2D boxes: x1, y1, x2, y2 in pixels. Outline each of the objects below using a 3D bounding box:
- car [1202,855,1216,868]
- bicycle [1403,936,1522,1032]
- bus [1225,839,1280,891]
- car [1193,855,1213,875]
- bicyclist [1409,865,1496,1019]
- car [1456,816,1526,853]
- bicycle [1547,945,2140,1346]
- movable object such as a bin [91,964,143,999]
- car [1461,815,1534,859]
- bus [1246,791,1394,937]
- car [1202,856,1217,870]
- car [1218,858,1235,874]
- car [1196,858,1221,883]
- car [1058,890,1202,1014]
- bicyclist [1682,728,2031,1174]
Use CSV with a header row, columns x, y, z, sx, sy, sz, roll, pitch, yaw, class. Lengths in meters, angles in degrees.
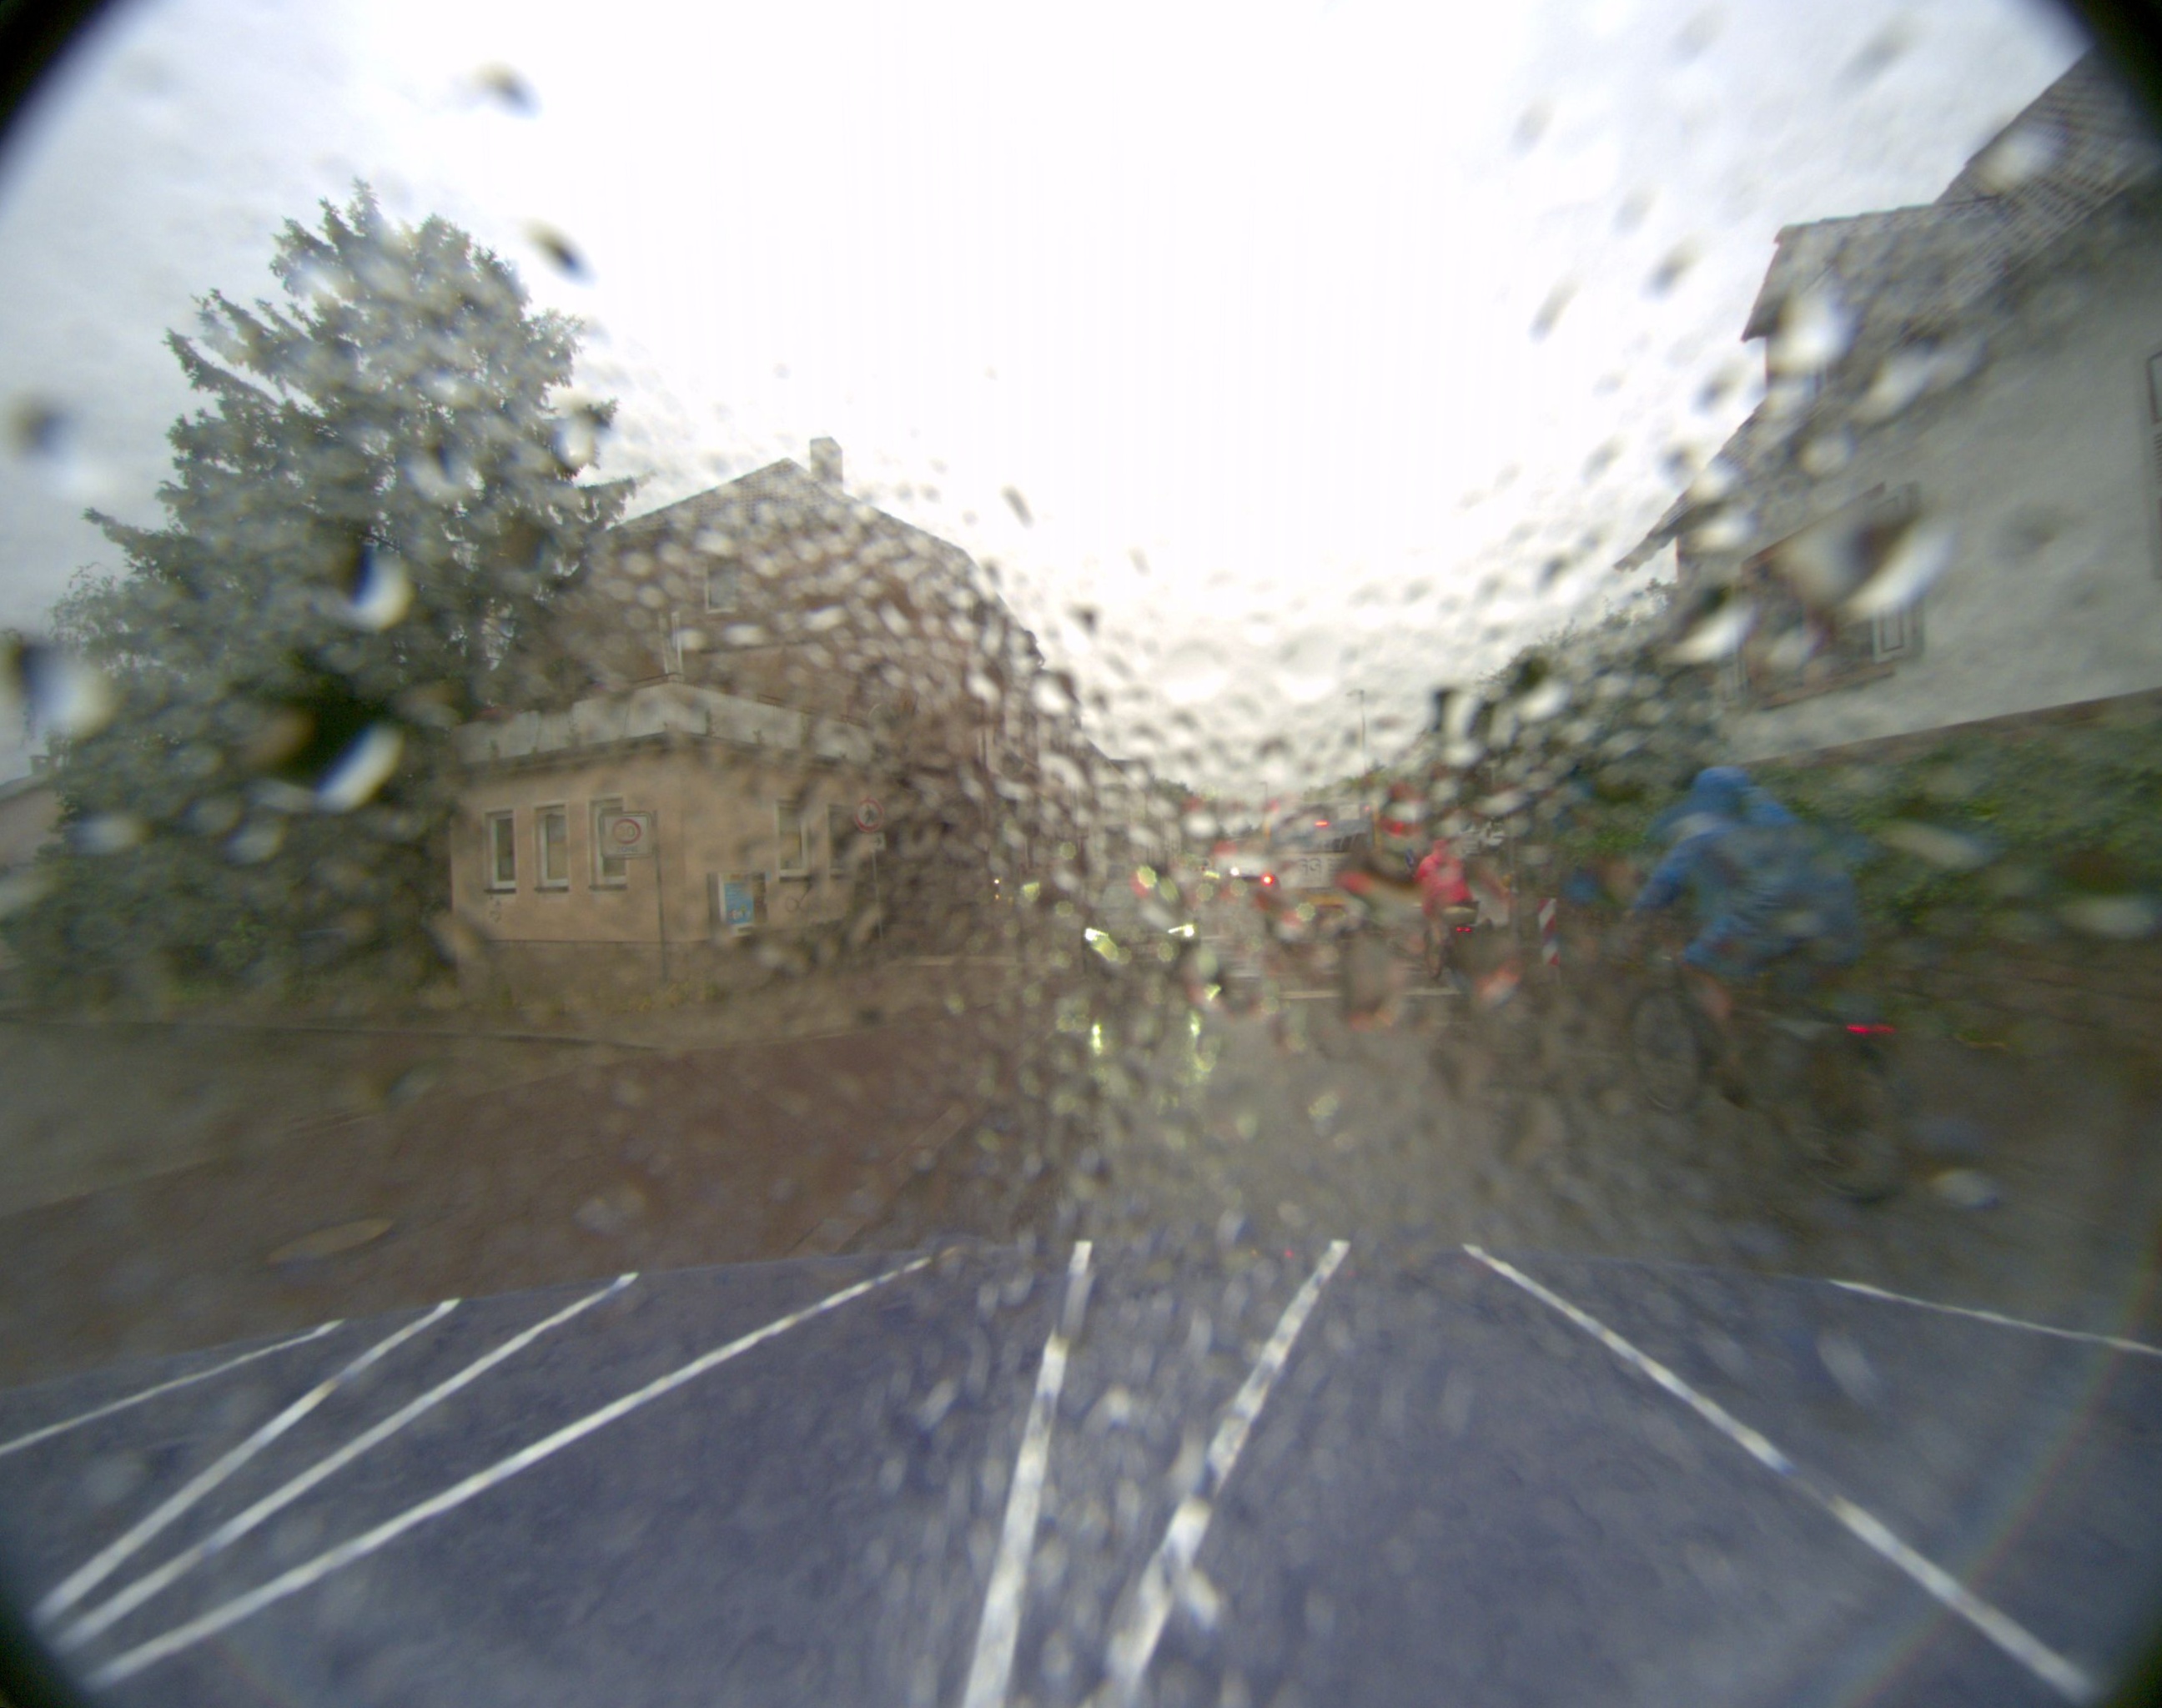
x,y,z,sx,sy,sz,roll,pitch,yaw,class
18.010,1.025,107.013,1.779,1.601,4.191,-3,0,10,car
4.482,1.494,9.089,0.662,0.864,1.937,-3,-3,9,bicycle
12.915,0.778,58.383,3.438,3.391,13.882,-2,0,10,bus
11.738,1.040,73.154,1.779,1.787,4.191,-3,0,10,car
4.452,1.035,9.162,0.658,1.759,0.704,-3,-2,9,bicyclist
21.919,-0.981,40.845,1.997,1.705,4.192,-3,-1,10,car
3.146,1.076,3.608,0.682,1.044,2.341,-3,-2,9,bicycle
-25.169,3.315,19.844,0.741,0.761,0.701,-3,0,29,movable object such as a bin
21.718,-0.878,39.802,1.997,2.050,4.190,-4,0,10,car
6.440,0.257,21.740,2.811,2.921,11.954,-3,-1,14,bus
16.657,1.106,98.336,1.779,1.601,4.191,-5,0,10,car
16.708,1.365,87.430,1.779,1.601,4.191,-4,0,10,car
10.294,1.322,61.424,1.779,1.787,4.191,-3,0,10,car
0.964,1.409,12.110,1.779,1.348,4.191,-3,0,10,car
3.275,0.394,3.301,0.688,1.702,0.704,-3,-1,9,bicyclist
